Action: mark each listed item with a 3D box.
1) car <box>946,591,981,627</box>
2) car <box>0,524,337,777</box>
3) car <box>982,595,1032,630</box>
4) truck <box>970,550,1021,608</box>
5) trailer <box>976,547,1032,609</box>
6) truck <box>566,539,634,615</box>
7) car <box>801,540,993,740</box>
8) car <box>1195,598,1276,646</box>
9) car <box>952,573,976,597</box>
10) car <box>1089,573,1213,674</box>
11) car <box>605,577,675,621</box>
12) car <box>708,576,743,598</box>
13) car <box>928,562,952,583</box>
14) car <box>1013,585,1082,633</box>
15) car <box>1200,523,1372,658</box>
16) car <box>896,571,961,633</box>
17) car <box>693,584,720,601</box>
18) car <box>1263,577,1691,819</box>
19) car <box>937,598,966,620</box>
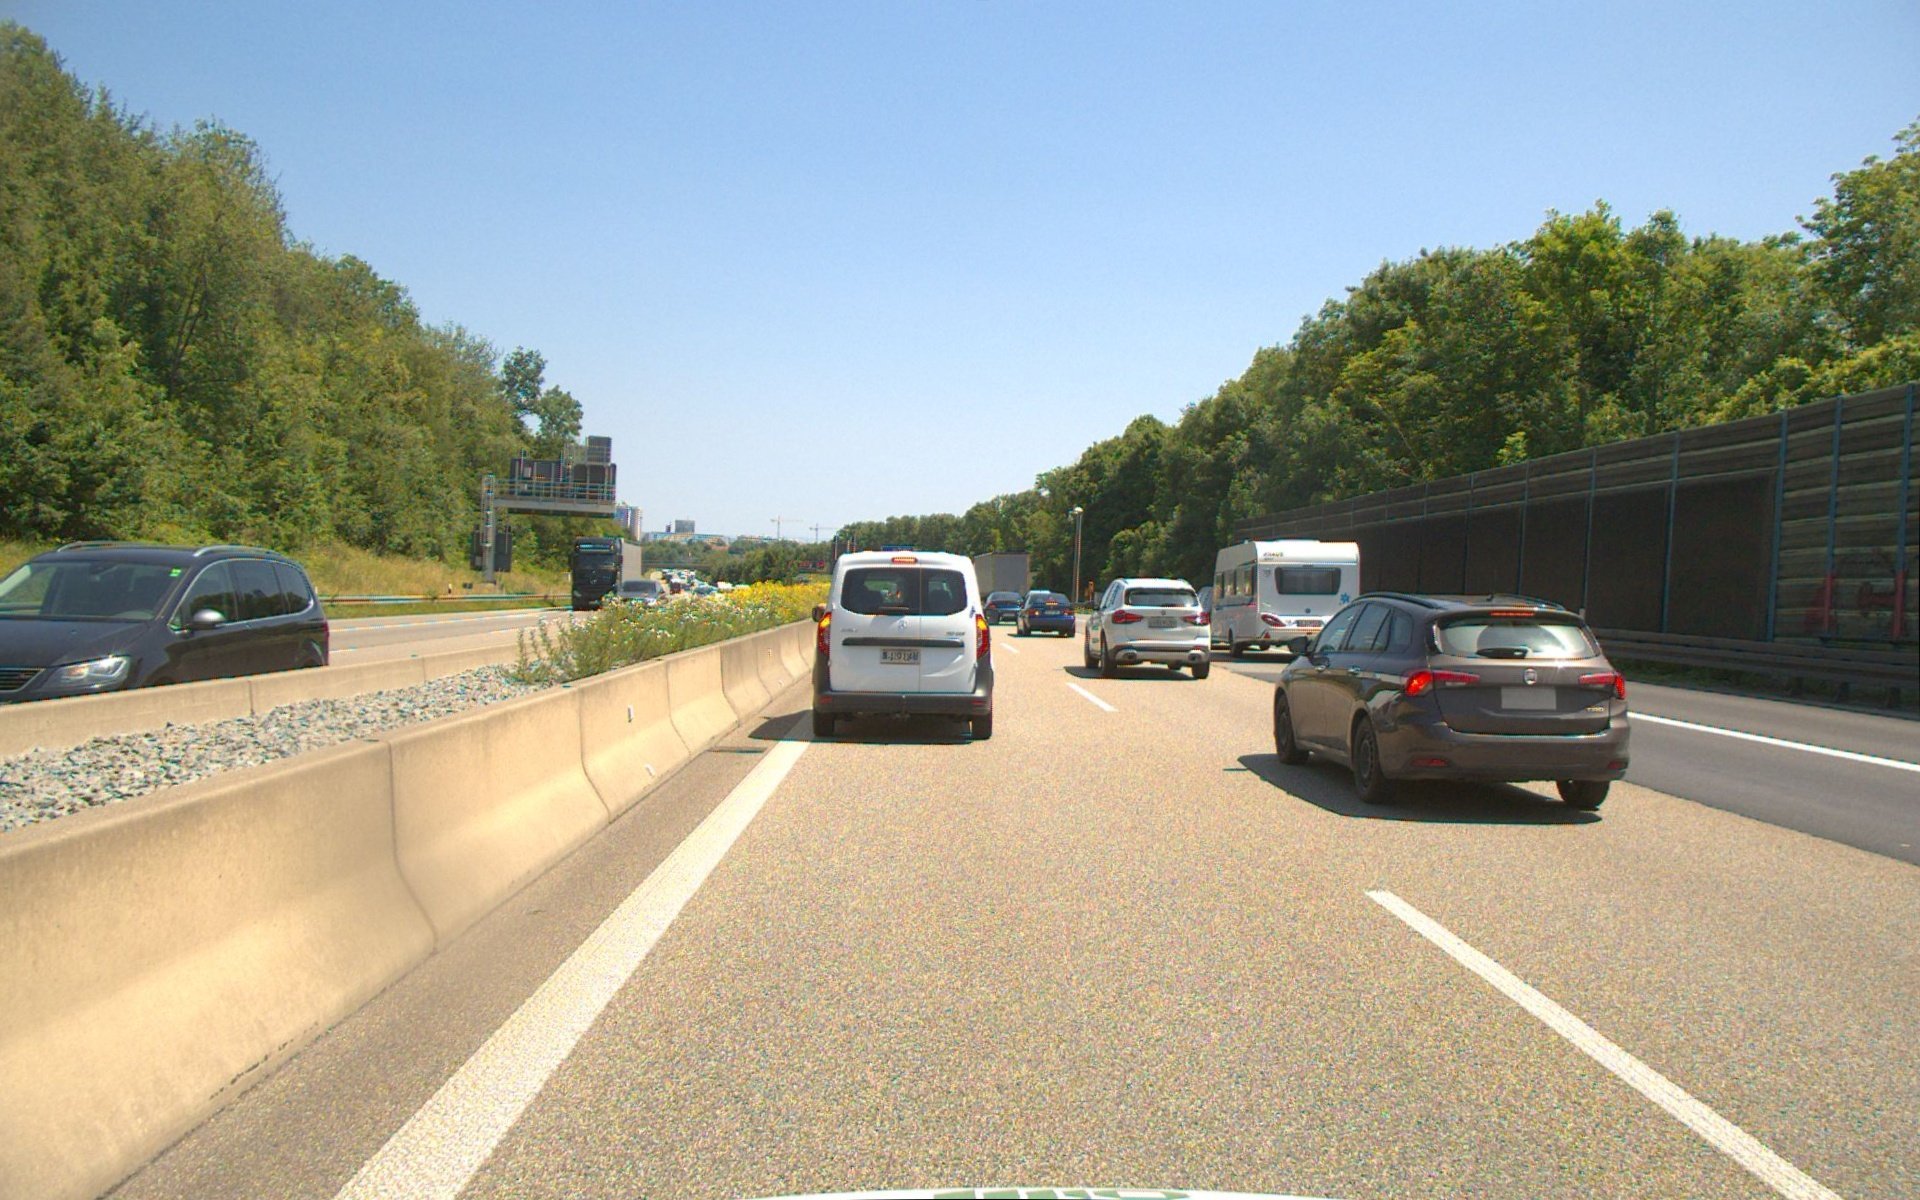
[{"bbox_3d":[0.209,0.506,95.973,1.788,2.024,3.997,1,0,-3],"label":"car"},{"bbox_3d":[-6.969,0.319,13.739,1.953,1.754,4.356,1,1,-1],"label":"car"},{"bbox_3d":[1.975,0.518,70.906,1.788,1.449,3.997,1,0,-3],"label":"car"},{"bbox_3d":[2.564,-1.468,122.077,3.020,4.055,9.640,1,0,-3],"label":"truck"},{"bbox_3d":[2.961,-1.477,114.932,3.020,4.055,10.316,1,0,-3],"label":"trailer"},{"bbox_3d":[-19.867,-1.234,91.568,2.773,4.008,6.002,1,0,-4],"label":"truck"},{"bbox_3d":[-0.549,0.358,17.493,1.765,1.839,4.001,1,0,1],"label":"car"},{"bbox_3d":[8.826,0.676,53.199,1.787,1.449,3.998,1,0,-2],"label":"car"},{"bbox_3d":[0.347,-1.326,146.272,1.954,2.049,3.998,1,0,-3],"label":"car"},{"bbox_3d":[3.346,0.375,29.622,1.832,1.636,3.879,1,1,1],"label":"car"},{"bbox_3d":[-12.618,-0.054,65.496,1.953,1.656,4.473,1,0,-2],"label":"car"},{"bbox_3d":[-16.410,-0.901,115.894,1.953,1.524,4.246,1,0,-2],"label":"car"},{"bbox_3d":[-2.005,-2.708,162.970,1.955,2.049,3.994,1,0,-7],"label":"car"},{"bbox_3d":[2.744,0.289,52.771,1.788,1.449,3.997,1,0,-3],"label":"car"},{"bbox_3d":[7.370,-0.194,38.171,2.429,2.814,6.216,1,0,-3],"label":"car"},{"bbox_3d":[-1.050,0.062,53.111,1.954,1.892,3.997,1,0,-3],"label":"car"},{"bbox_3d":[-23.051,-0.670,150.408,1.953,1.517,3.998,1,0,-2],"label":"car"},{"bbox_3d":[3.767,0.616,12.939,1.801,1.539,4.400,1,1,-2],"label":"car"},{"bbox_3d":[-0.604,0.598,111.432,1.788,1.472,3.997,1,0,-3],"label":"car"}]
